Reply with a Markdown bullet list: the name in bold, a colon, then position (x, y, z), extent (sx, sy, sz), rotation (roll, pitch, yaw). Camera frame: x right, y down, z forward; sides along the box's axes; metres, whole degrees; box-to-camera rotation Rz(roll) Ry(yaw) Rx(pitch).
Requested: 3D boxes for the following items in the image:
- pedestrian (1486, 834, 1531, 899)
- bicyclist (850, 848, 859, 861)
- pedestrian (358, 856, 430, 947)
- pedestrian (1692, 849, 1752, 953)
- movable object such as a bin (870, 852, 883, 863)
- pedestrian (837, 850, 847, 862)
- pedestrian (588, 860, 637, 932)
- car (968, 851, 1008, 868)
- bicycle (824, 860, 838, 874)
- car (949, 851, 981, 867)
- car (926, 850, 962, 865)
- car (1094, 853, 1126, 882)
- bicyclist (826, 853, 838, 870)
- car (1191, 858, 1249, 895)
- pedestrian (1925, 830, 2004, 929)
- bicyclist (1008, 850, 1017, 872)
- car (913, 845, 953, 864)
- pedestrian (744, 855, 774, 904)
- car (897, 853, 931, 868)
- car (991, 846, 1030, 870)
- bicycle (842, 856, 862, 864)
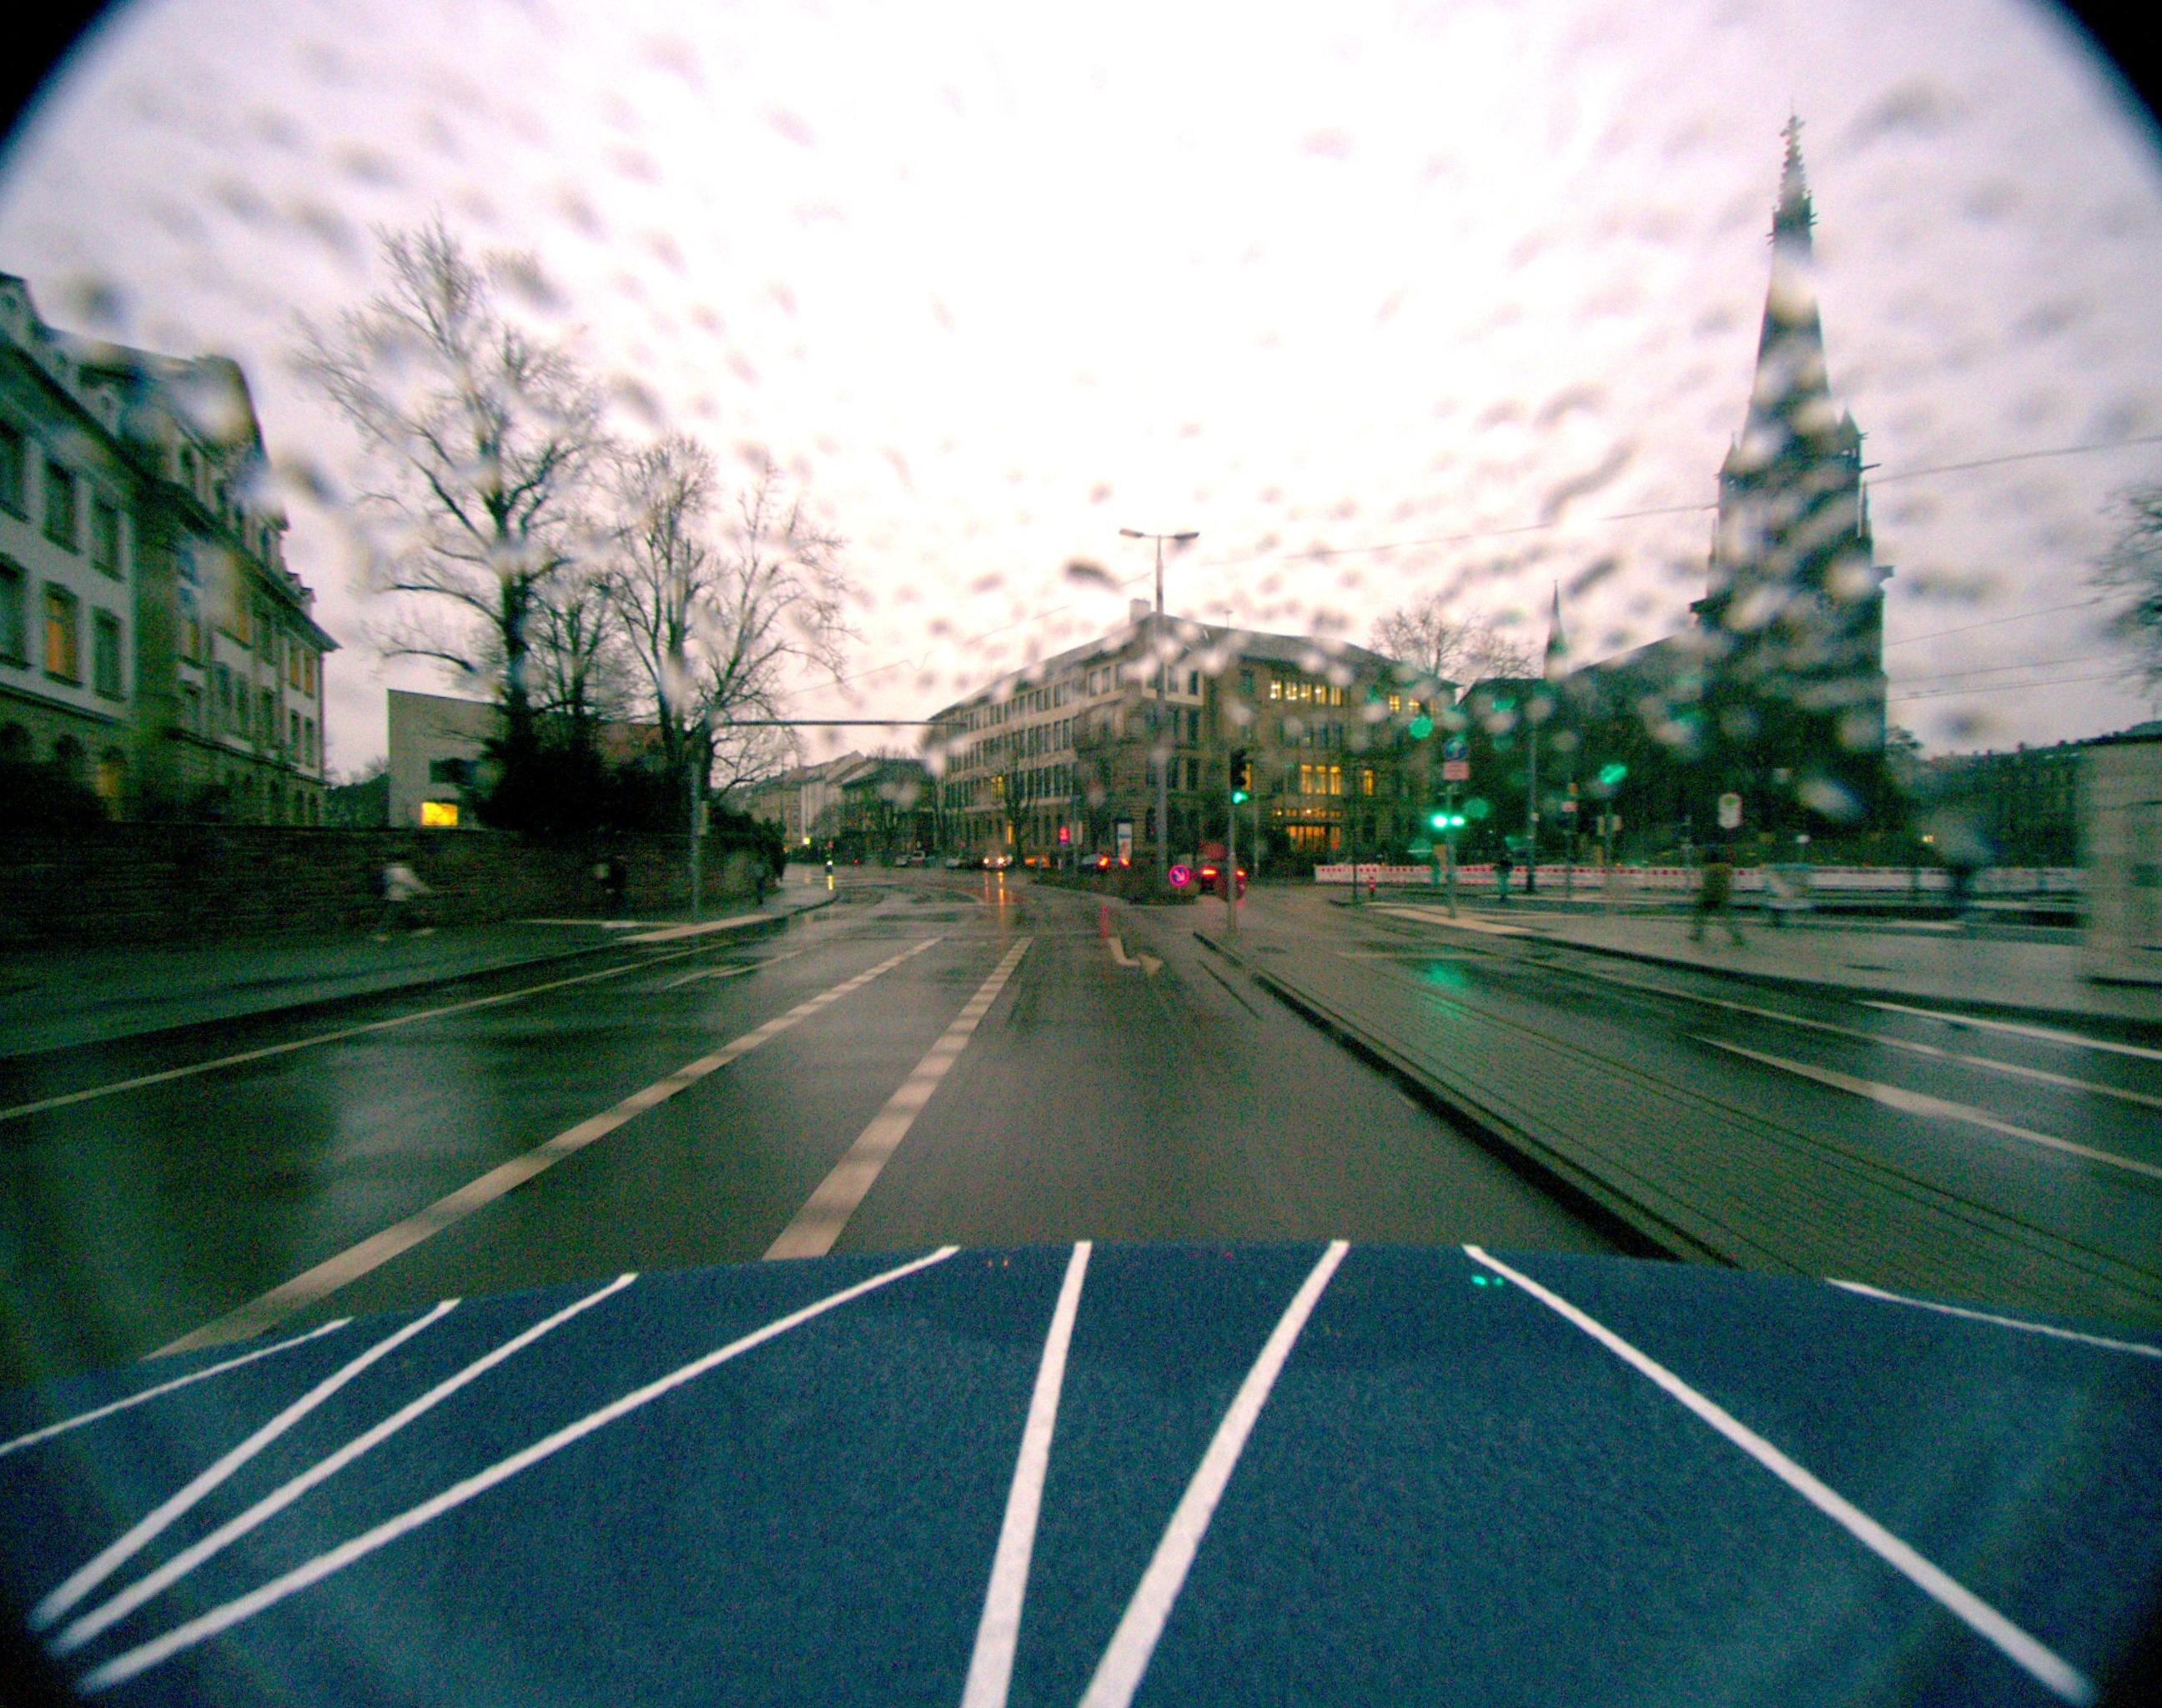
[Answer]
- **pedestrian**: position (15.794, 0.440, 28.091), extent (0.996, 2.357, 1.063), rotation (-2, 3, -4)
- **bicyclist**: position (-28.491, 0.103, 95.766), extent (0.858, 1.587, 0.779), rotation (-4, 3, -29)
- **pedestrian**: position (-13.157, 0.884, 14.588), extent (0.964, 1.666, 0.777), rotation (0, 1, -38)
- **pedestrian**: position (10.795, 0.769, 12.823), extent (0.673, 1.665, 0.731), rotation (0, 3, 32)
- **movable object such as a bin**: position (-27.847, 0.427, 103.460), extent (1.341, 1.456, 0.987), rotation (-1, 3, 18)
- **pedestrian**: position (-34.949, 0.239, 111.146), extent (0.945, 1.694, 0.925), rotation (0, 3, 33)
- **pedestrian**: position (-11.108, 0.988, 18.034), extent (0.792, 1.666, 0.729), rotation (1, 1, -13)
- **car**: position (-9.598, 0.566, 78.608), extent (1.795, 1.449, 4.484), rotation (0, 2, 30)
- **bicycle**: position (-20.553, 1.046, 62.422), extent (0.725, 1.084, 2.280), rotation (-2, 0, -27)
- **car**: position (-12.571, 0.540, 82.787), extent (1.633, 1.449, 3.831), rotation (-1, 2, 22)
- **car**: position (-15.628, 0.402, 86.777), extent (1.819, 1.531, 3.983), rotation (-1, 2, 28)
- **car**: position (1.750, 0.776, 46.595), extent (1.758, 1.652, 4.530), rotation (1, 0, 0)
- **bicyclist**: position (-20.448, 0.581, 62.403), extent (0.718, 1.335, 0.718), rotation (-3, 3, -27)
- **car**: position (5.641, 0.873, 31.326), extent (1.751, 1.370, 4.367), rotation (1, 0, 2)
- **pedestrian**: position (16.779, 0.450, 14.437), extent (0.605, 1.803, 0.823), rotation (-3, 3, -25)
- **bicyclist**: position (-5.733, 0.593, 63.792), extent (0.611, 1.758, 0.589), rotation (-1, 3, 10)
- **car**: position (-17.390, 0.069, 89.421), extent (1.961, 2.042, 4.629), rotation (0, 2, 29)
- **pedestrian**: position (-11.342, 0.878, 26.767), extent (0.808, 1.675, 1.155), rotation (1, 0, -16)
- **car**: position (-20.669, 0.815, 94.199), extent (1.771, 1.582, 4.191), rotation (-1, 2, 27)
- **car**: position (-6.724, 0.339, 73.442), extent (1.908, 2.022, 4.809), rotation (-1, 2, 19)
- **bicycle**: position (-28.852, 0.742, 95.706), extent (2.125, 0.939, 0.942), rotation (-3, 3, -30)
